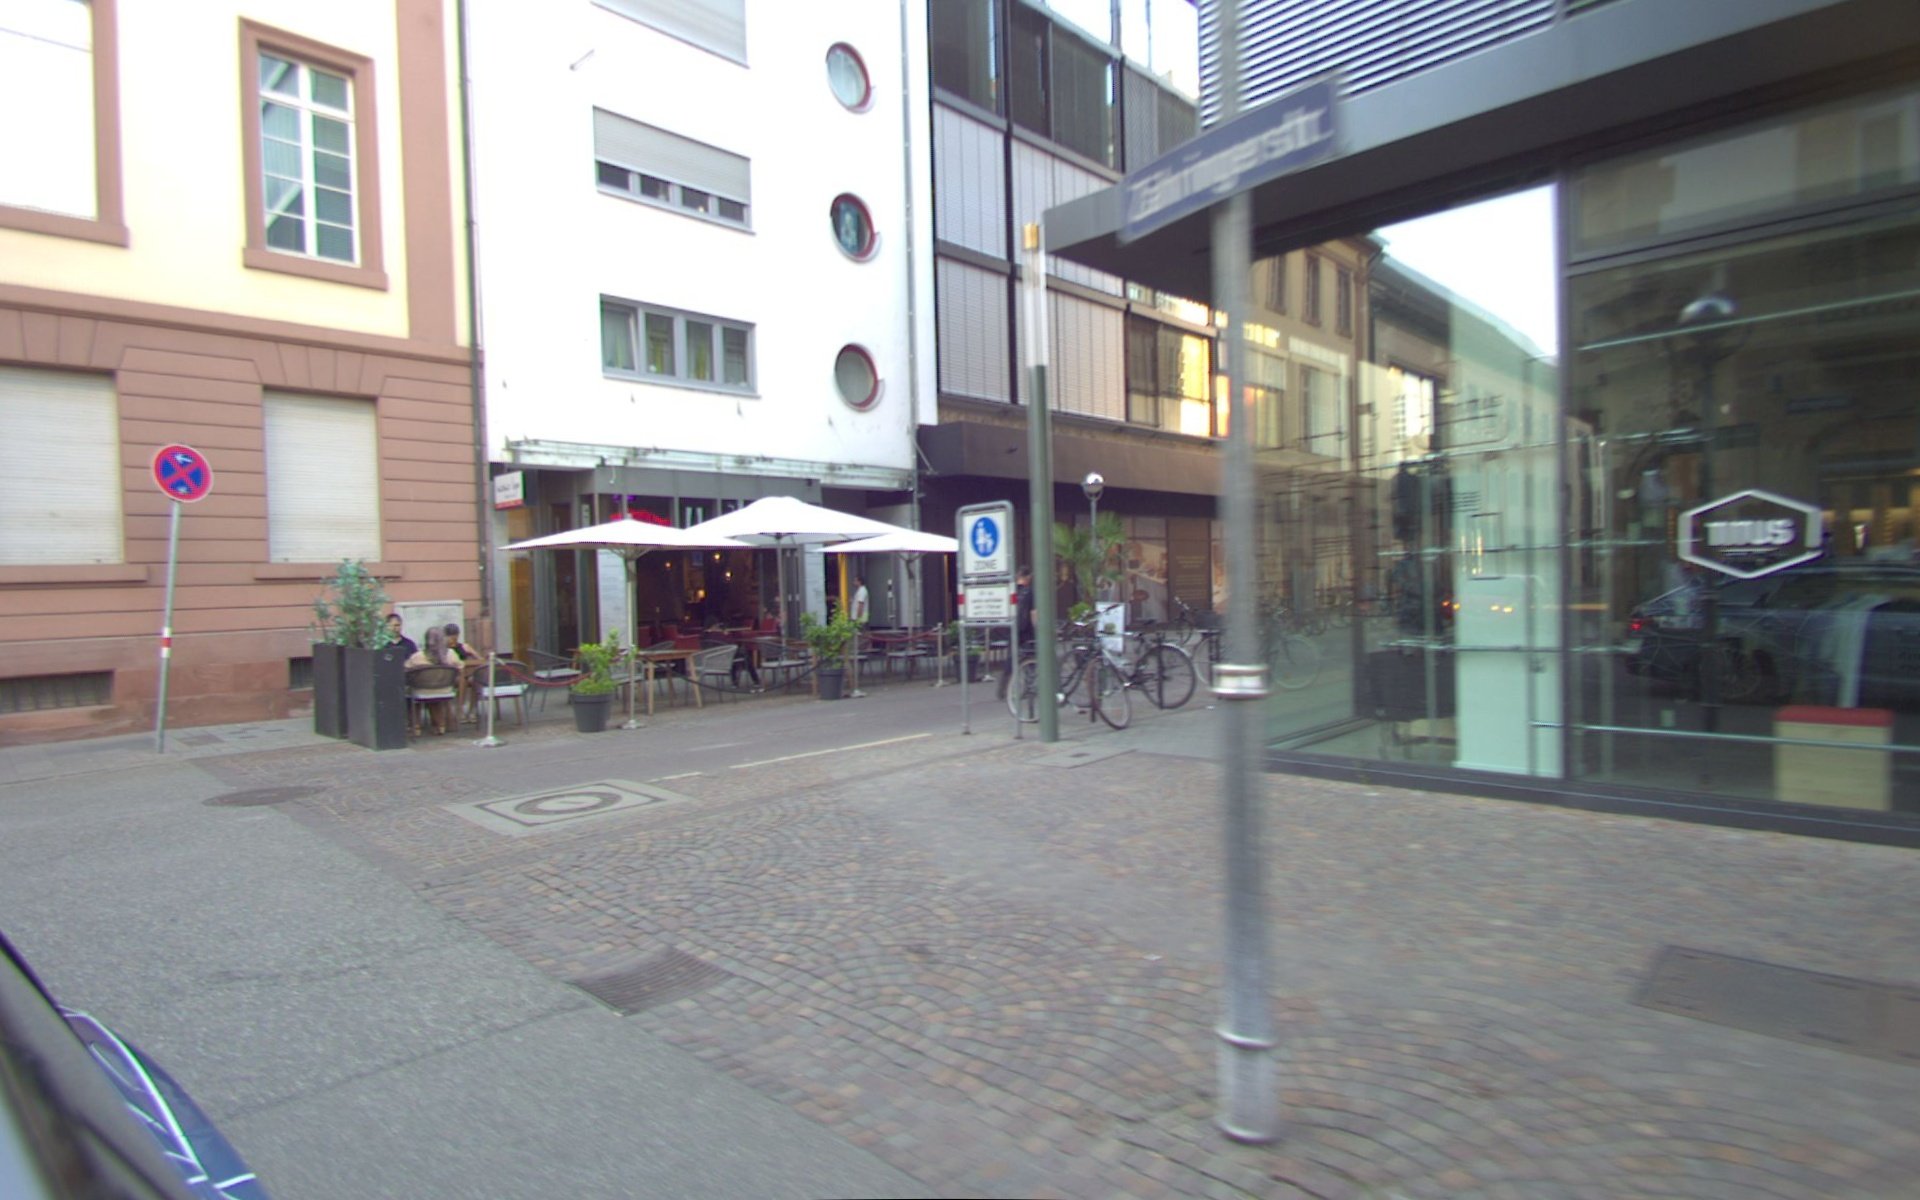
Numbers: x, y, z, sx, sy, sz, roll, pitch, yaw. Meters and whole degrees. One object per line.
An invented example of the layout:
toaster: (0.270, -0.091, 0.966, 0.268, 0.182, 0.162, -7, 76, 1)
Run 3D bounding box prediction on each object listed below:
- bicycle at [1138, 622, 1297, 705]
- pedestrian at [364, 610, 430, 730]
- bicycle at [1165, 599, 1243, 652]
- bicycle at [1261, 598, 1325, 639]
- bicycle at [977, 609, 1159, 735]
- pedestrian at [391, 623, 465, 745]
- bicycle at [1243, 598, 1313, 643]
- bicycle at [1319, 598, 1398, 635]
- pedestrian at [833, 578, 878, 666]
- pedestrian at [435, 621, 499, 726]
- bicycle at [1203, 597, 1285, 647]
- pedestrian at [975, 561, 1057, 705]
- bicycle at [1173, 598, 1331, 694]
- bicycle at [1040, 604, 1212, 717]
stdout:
bicycle: (3.013, 0.743, 11.993, 1.793, 0.902, 0.448, -3, -1, 43)
pedestrian: (-6.642, 0.806, 11.936, 0.541, 1.359, 0.489, -2, 1, -44)
bicycle: (5.256, 0.551, 21.853, 1.543, 1.093, 0.541, -1, 1, 43)
bicycle: (8.460, 0.475, 25.721, 1.455, 1.013, 0.459, -1, 1, 43)
bicycle: (1.045, 0.695, 10.079, 1.674, 1.121, 0.699, -3, -1, 43)
pedestrian: (-5.626, 0.869, 10.700, 0.554, 1.221, 0.461, -2, 1, -44)
bicycle: (7.728, 0.498, 24.660, 1.556, 1.044, 0.459, -1, 1, 43)
bicycle: (10.827, 0.453, 27.532, 1.945, 0.964, 0.459, -1, 1, 43)
pedestrian: (-2.025, 0.421, 19.729, 0.619, 1.678, 0.667, -2, 0, 16)
pedestrian: (-6.041, 0.880, 12.400, 0.541, 1.220, 0.524, -2, 1, -44)
bicycle: (6.542, 0.512, 23.375, 1.728, 1.100, 0.541, -1, 1, 43)
pedestrian: (0.741, 0.410, 13.254, 0.736, 1.798, 0.961, -2, 0, 24)
bicycle: (3.789, 0.597, 13.256, 1.911, 1.153, 0.549, -3, 0, 43)
bicycle: (1.835, 0.669, 11.418, 1.841, 1.159, 0.601, -3, -1, 43)
